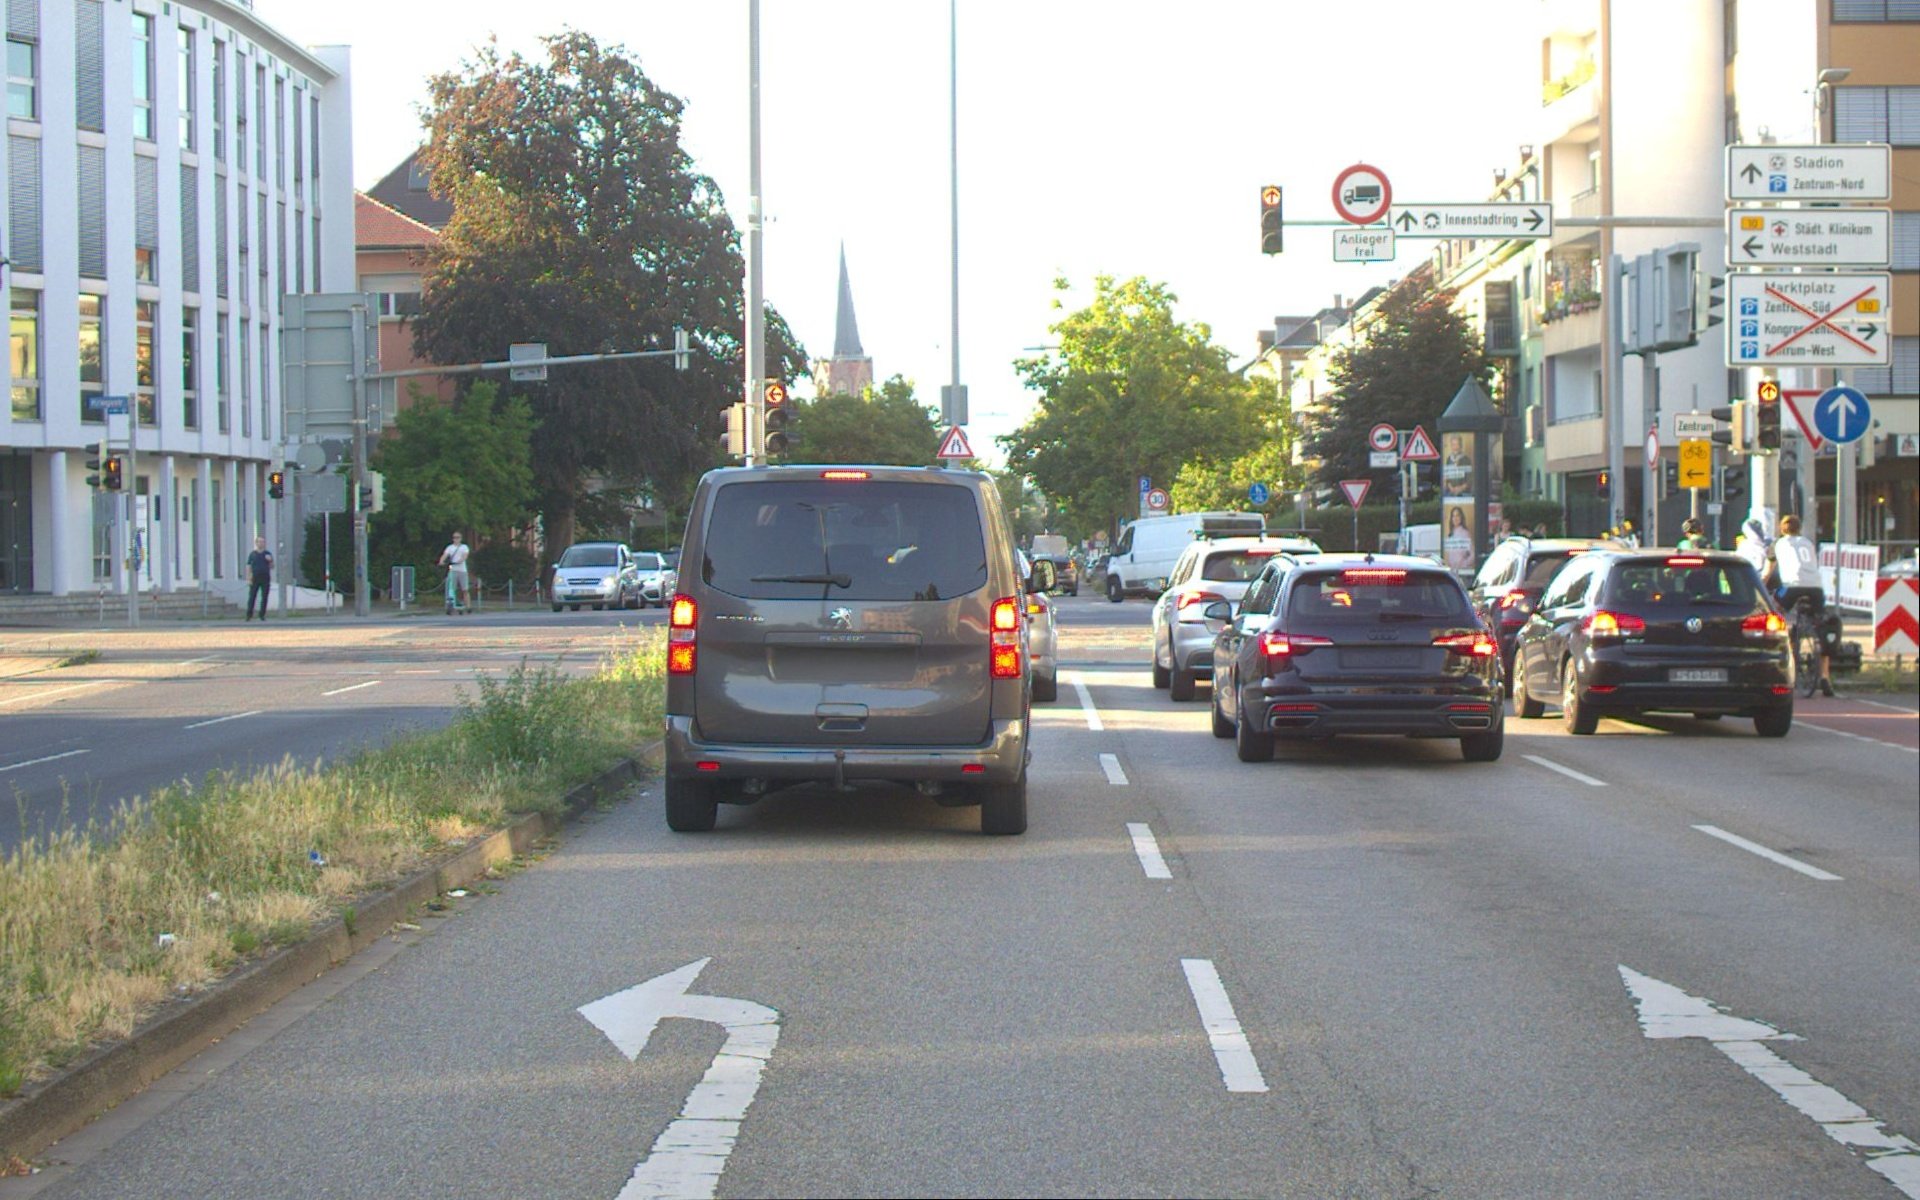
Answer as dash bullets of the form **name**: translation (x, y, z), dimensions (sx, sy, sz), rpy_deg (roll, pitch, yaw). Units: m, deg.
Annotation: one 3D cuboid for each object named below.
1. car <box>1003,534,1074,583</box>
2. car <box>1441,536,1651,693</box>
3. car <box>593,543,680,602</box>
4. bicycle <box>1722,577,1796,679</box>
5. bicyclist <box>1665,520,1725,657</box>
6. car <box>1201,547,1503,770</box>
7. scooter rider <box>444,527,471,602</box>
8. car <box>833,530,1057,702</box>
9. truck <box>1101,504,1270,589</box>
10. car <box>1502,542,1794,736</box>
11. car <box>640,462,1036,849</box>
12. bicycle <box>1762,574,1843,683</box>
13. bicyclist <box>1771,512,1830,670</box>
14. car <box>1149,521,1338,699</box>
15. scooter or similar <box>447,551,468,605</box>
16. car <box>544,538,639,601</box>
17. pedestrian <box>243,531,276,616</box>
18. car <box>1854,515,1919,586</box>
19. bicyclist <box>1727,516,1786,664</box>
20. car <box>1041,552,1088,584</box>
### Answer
- **car**: translation (2.725, -1.455, 120.270), dimensions (1.993, 1.656, 4.001), rpy_deg (-1, 1, -6)
- **car**: translation (5.705, 0.103, 33.751), dimensions (1.505, 1.444, 3.305), rpy_deg (-1, 1, 0)
- **car**: translation (-8.140, -0.723, 86.766), dimensions (1.856, 1.415, 4.000), rpy_deg (-1, 1, -1)
- **bicycle**: translation (8.254, 0.276, 35.571), dimensions (0.336, 1.004, 1.856), rpy_deg (-1, 1, 0)
- **bicyclist**: translation (8.248, -0.138, 38.583), dimensions (0.513, 1.520, 0.725), rpy_deg (-1, 1, 0)
- **car**: translation (2.713, 0.353, 24.609), dimensions (1.681, 1.416, 4.214), rpy_deg (1, 1, 0)
- **scooter rider**: translation (-11.273, -0.799, 77.099), dimensions (0.481, 1.691, 0.636), rpy_deg (-1, 1, 0)
- **car**: translation (-0.122, 0.101, 32.809), dimensions (1.993, 1.525, 4.000), rpy_deg (-1, 1, 0)
- **truck**: translation (5.686, -1.359, 87.219), dimensions (2.127, 2.079, 4.632), rpy_deg (-1, 1, -28)
- **car**: translation (5.549, 0.264, 28.123), dimensions (1.634, 1.444, 3.745), rpy_deg (1, 1, 0)
- **car**: translation (-0.584, 0.225, 19.049), dimensions (1.907, 1.857, 4.527), rpy_deg (1, 1, 0)
- **bicycle**: translation (8.181, 0.260, 33.434), dimensions (0.336, 1.004, 1.856), rpy_deg (-1, 1, 0)
- **bicyclist**: translation (8.143, -0.090, 33.312), dimensions (0.441, 1.520, 0.482), rpy_deg (-1, 1, 0)
- **car**: translation (2.704, 0.052, 33.409), dimensions (1.529, 1.608, 3.745), rpy_deg (1, 1, 0)
- **scooter or similar**: translation (-11.280, -0.499, 77.159), dimensions (0.285, 1.184, 1.169), rpy_deg (-1, 1, 0)
- **car**: translation (-8.657, -0.742, 81.046), dimensions (1.856, 1.415, 4.000), rpy_deg (-1, 1, -1)
- **pedestrian**: translation (-14.263, -0.552, 70.018), dimensions (0.625, 1.716, 0.671), rpy_deg (-1, 1, -13)
- **car**: translation (20.246, -1.015, 69.172), dimensions (3.986, 1.415, 1.788), rpy_deg (-1, 1, -6)
- **bicyclist**: translation (8.258, -0.110, 35.647), dimensions (0.441, 1.520, 0.725), rpy_deg (-1, 1, 0)
- **car**: translation (4.655, -1.446, 153.283), dimensions (1.904, 1.368, 4.000), rpy_deg (-1, 1, -1)
